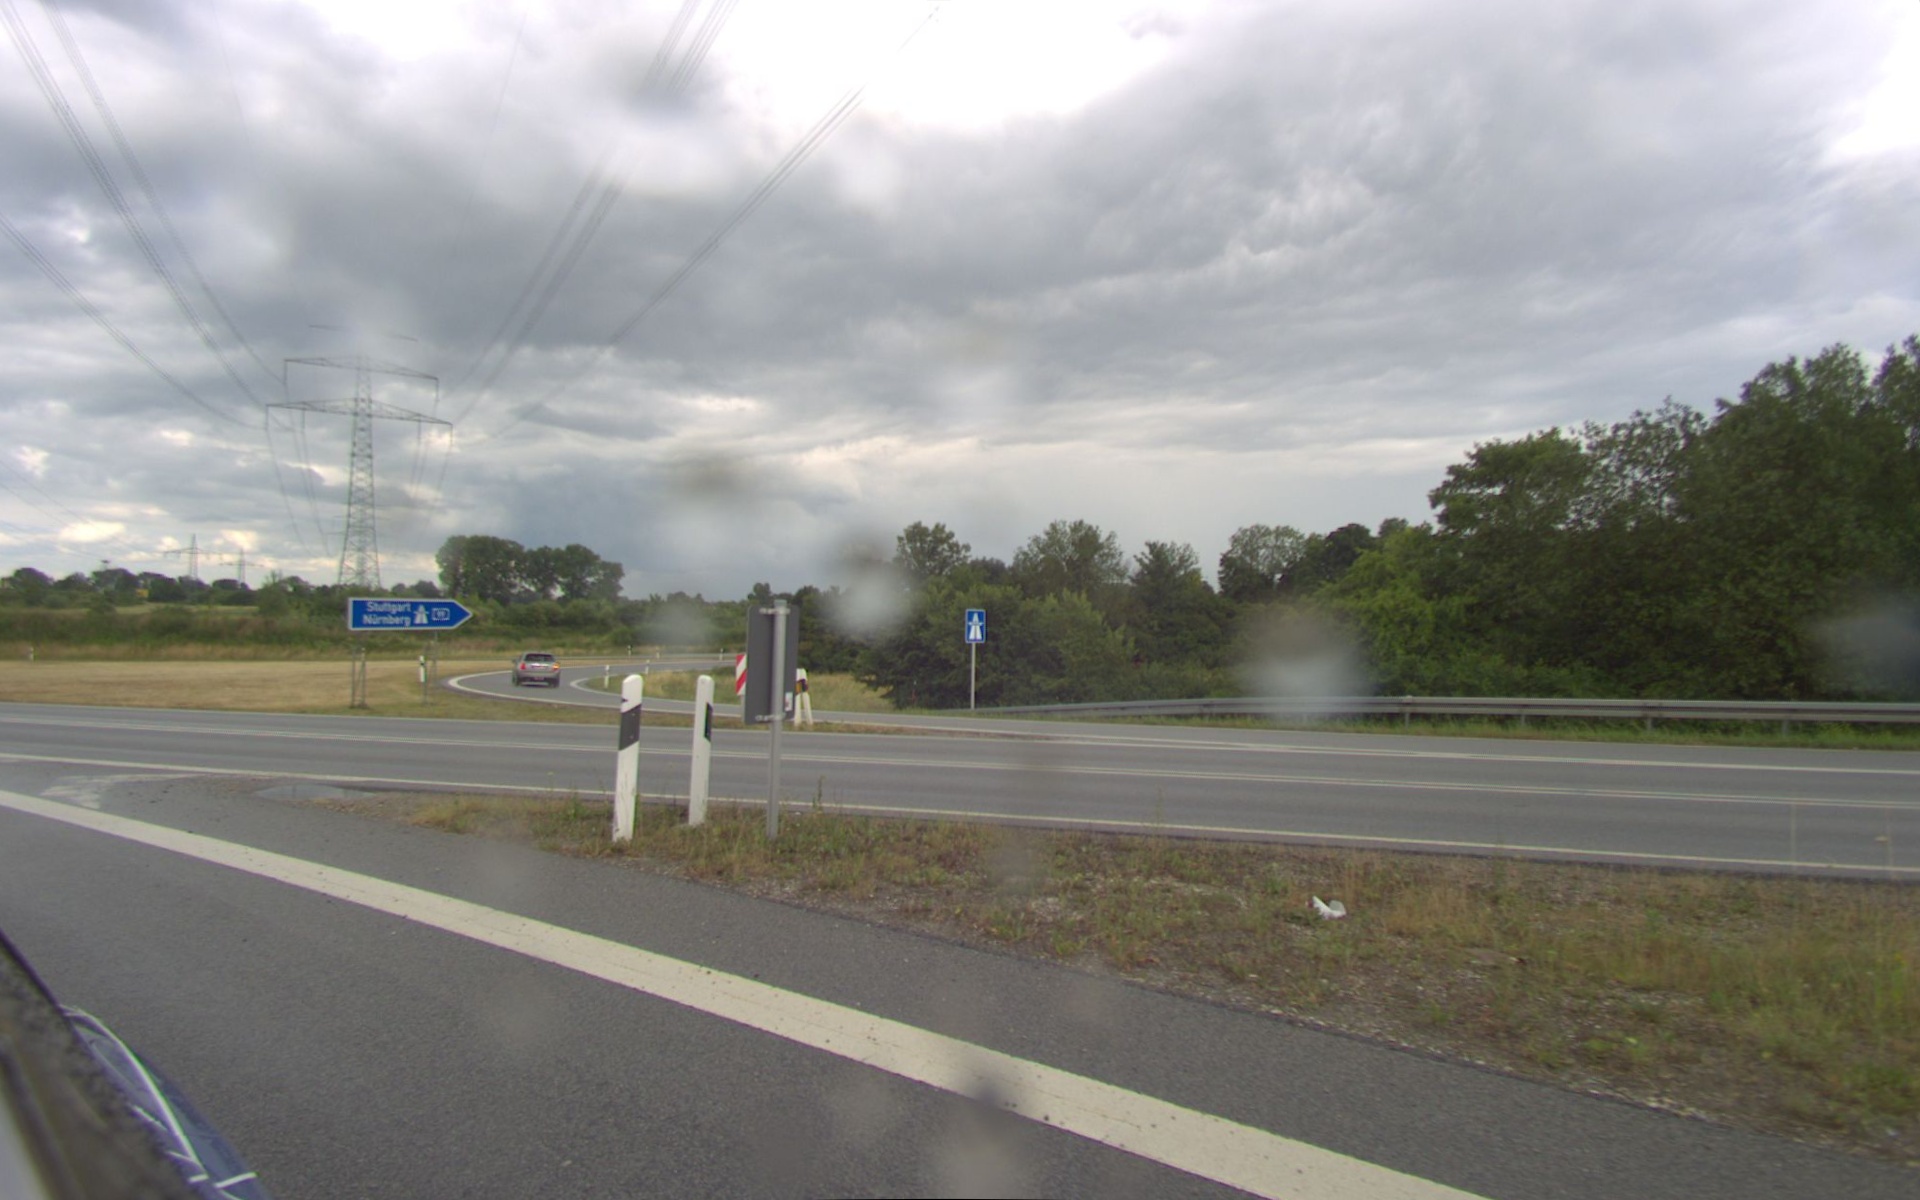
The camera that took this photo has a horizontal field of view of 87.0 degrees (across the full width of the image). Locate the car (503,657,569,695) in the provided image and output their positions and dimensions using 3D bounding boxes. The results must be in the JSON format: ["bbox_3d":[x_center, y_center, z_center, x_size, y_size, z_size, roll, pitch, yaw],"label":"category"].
[{"bbox_3d":[-17.912,3.175,42.688,1.713,1.449,3.781,4,-4,-35],"label":"car"}]
